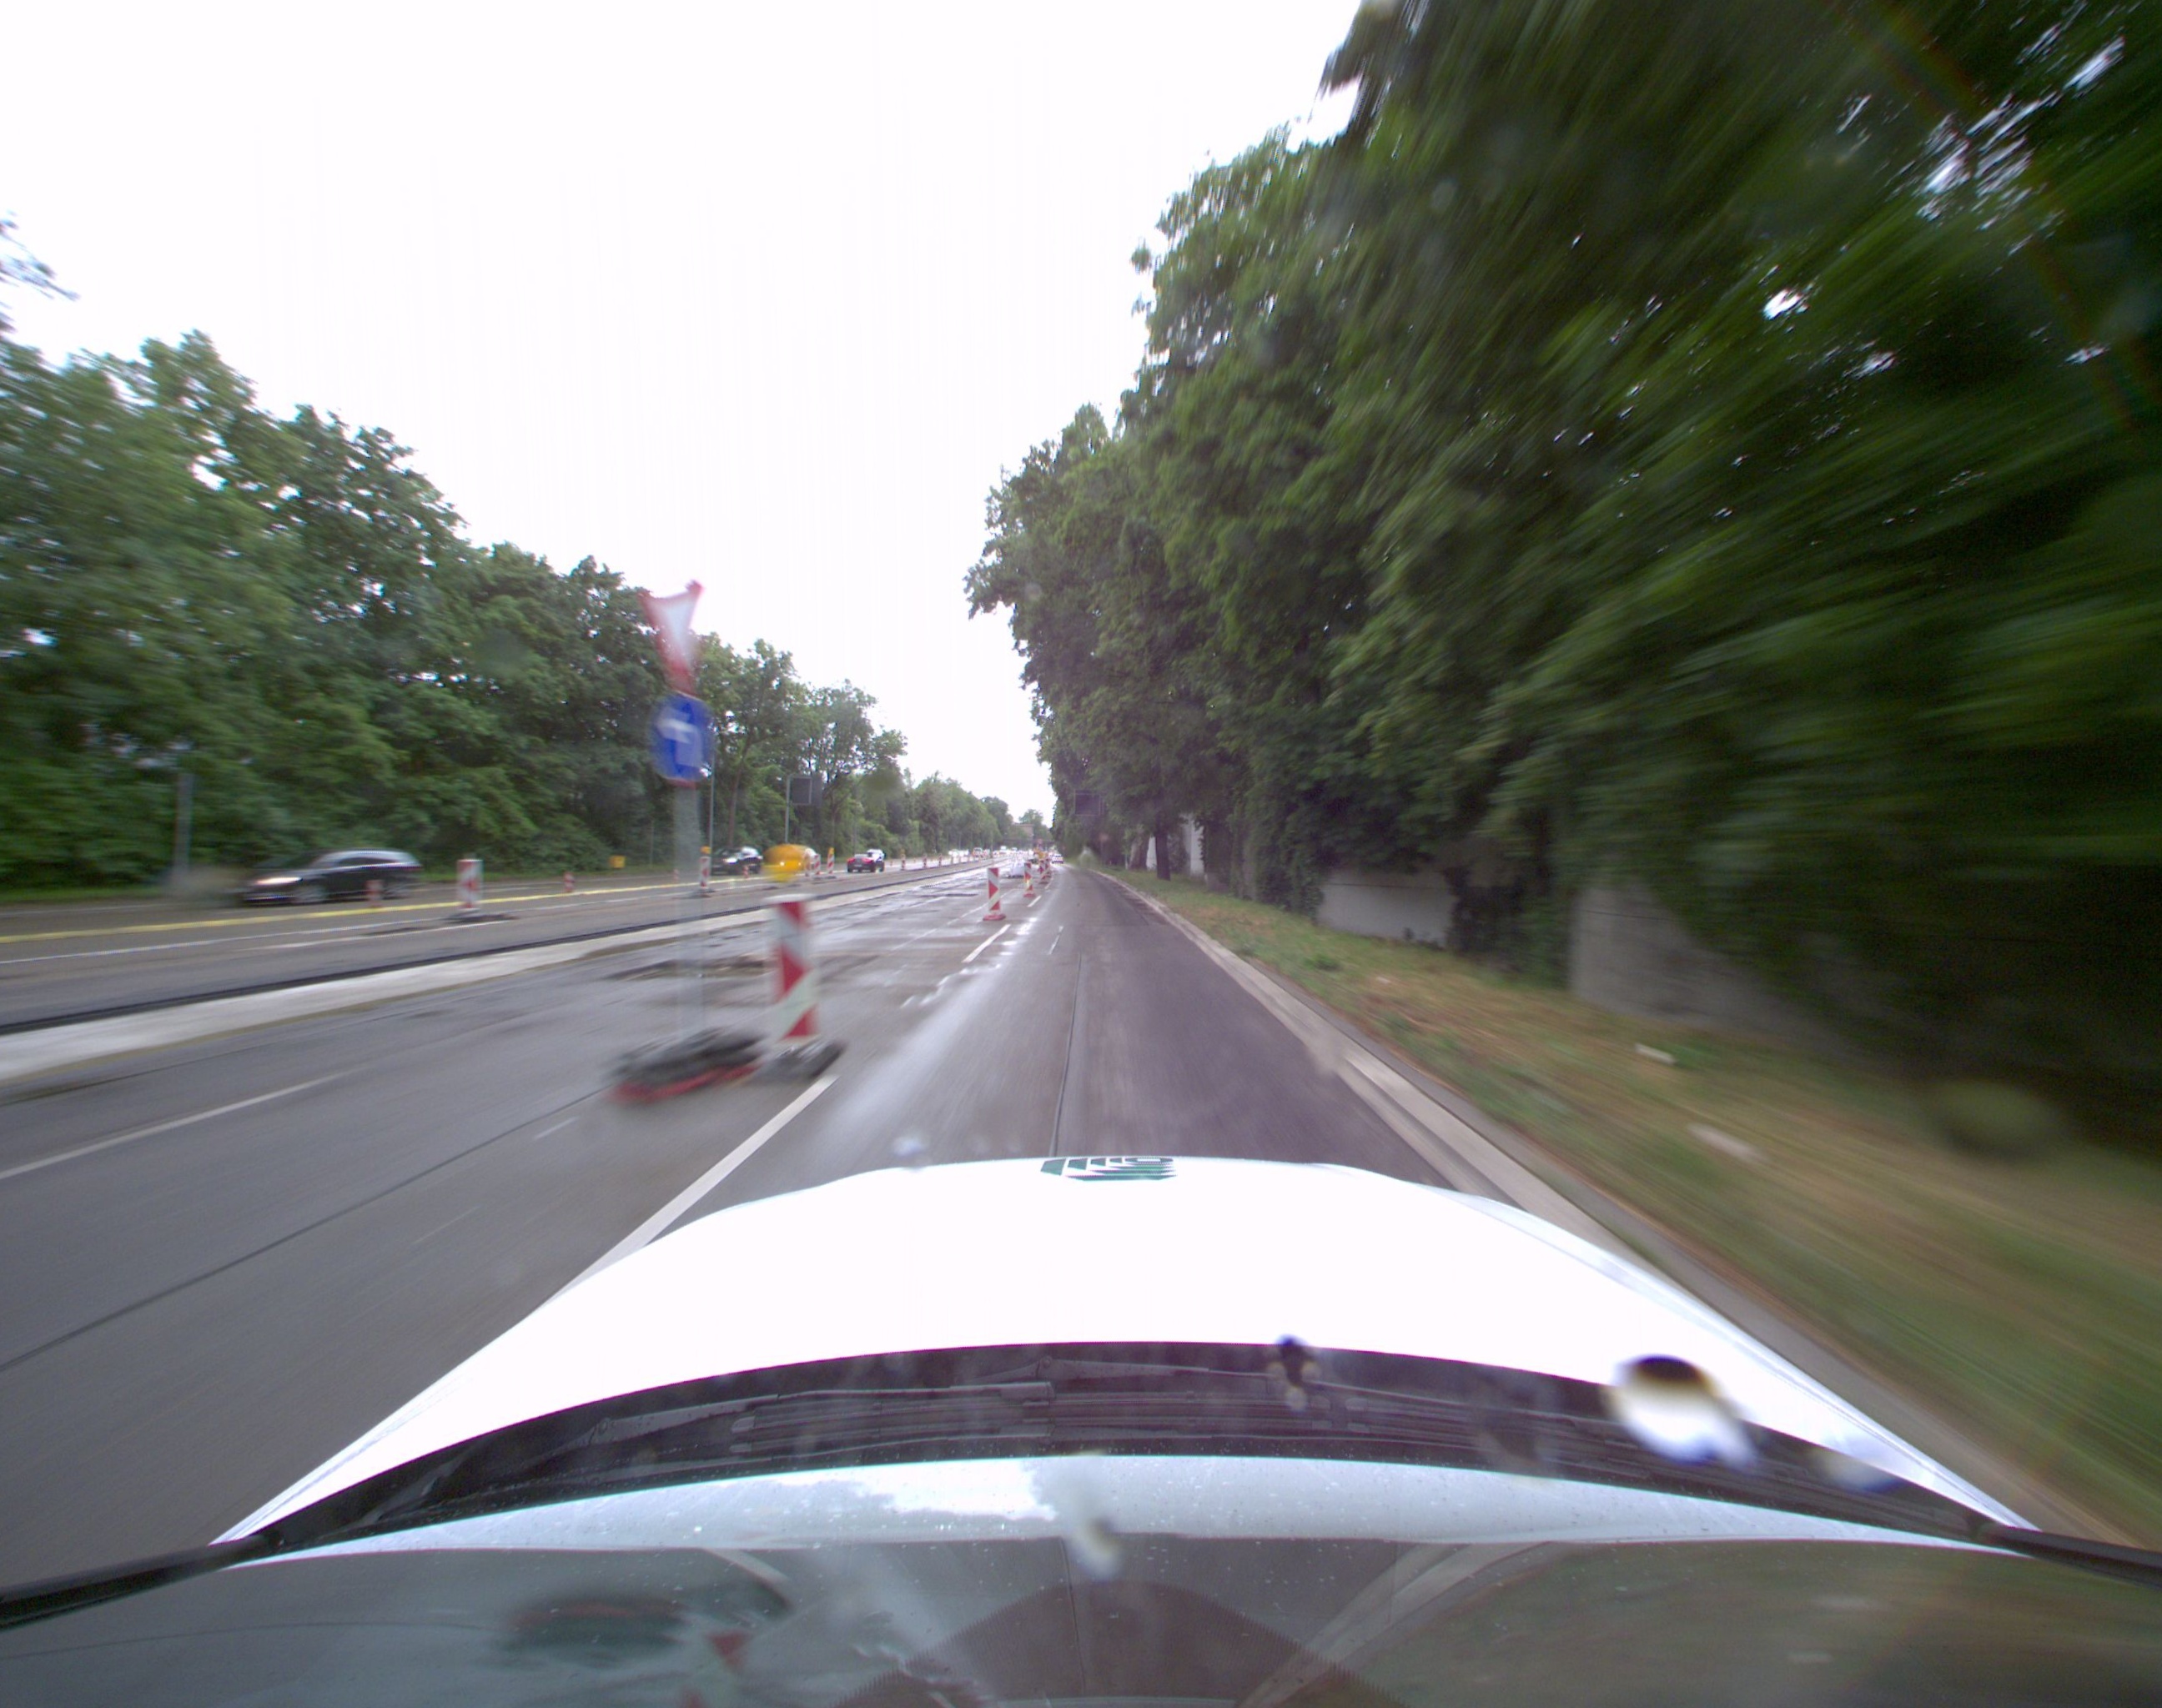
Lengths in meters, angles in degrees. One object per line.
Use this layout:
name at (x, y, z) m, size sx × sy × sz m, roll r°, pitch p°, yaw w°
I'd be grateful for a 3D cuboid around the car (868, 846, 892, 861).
car at (-22.186, -0.066, 90.108) m, size 1.662 × 1.541 × 4.155 m, roll -2°, pitch 0°, yaw -1°

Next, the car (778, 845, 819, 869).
car at (-21.455, 0.240, 62.012) m, size 1.772 × 1.751 × 4.376 m, roll 0°, pitch 0°, yaw -2°

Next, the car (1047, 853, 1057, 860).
car at (-5.973, 0.501, 165.479) m, size 1.848 × 1.433 × 3.731 m, roll 0°, pitch 0°, yaw 1°

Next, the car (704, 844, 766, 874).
car at (-20.793, 0.283, 49.207) m, size 1.772 × 1.663 × 4.911 m, roll -1°, pitch 0°, yaw -2°

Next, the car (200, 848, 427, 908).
car at (-20.677, 0.581, 22.278) m, size 1.778 × 1.452 × 4.680 m, roll 0°, pitch 0°, yaw -1°

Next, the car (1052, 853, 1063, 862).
car at (-3.866, 0.563, 131.449) m, size 1.694 × 1.336 × 3.487 m, roll -1°, pitch 0°, yaw -3°

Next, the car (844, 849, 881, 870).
car at (-15.395, 0.388, 57.492) m, size 1.603 × 1.404 × 4.037 m, roll 1°, pitch 0°, yaw -2°

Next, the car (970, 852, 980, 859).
car at (-22.794, 0.275, 175.520) m, size 1.814 × 1.355 × 4.200 m, roll -1°, pitch 0°, yaw -3°
